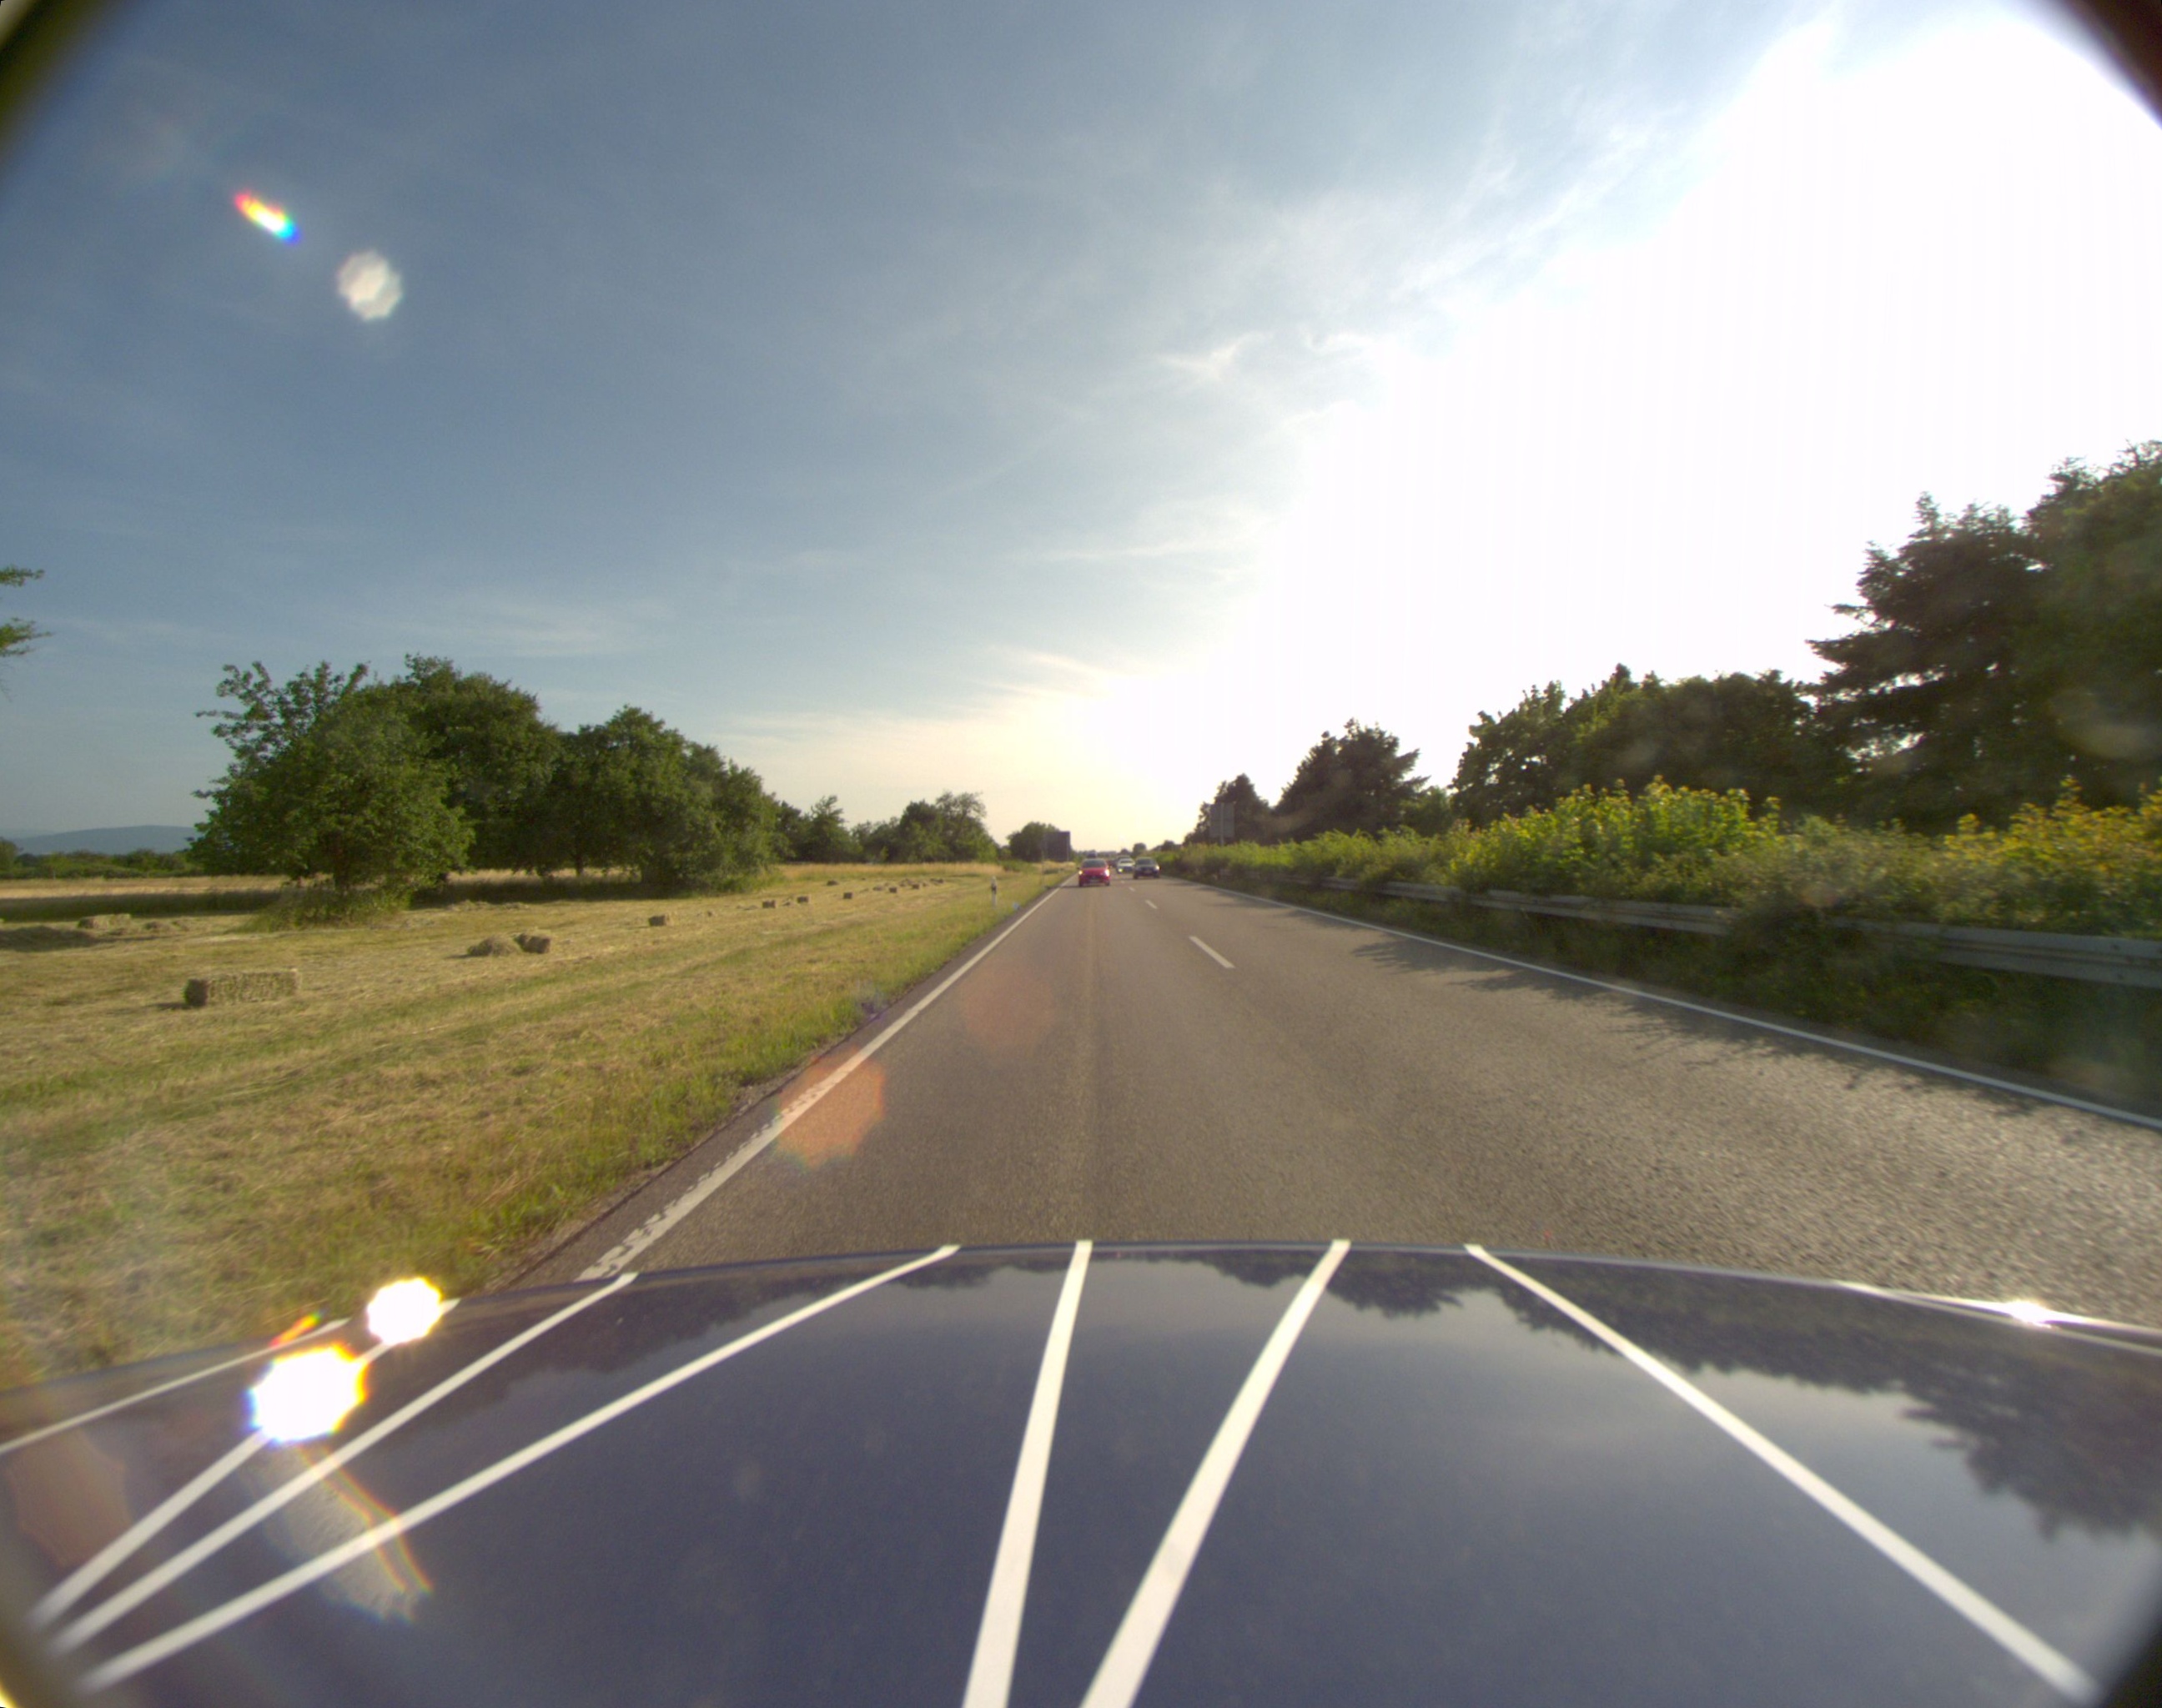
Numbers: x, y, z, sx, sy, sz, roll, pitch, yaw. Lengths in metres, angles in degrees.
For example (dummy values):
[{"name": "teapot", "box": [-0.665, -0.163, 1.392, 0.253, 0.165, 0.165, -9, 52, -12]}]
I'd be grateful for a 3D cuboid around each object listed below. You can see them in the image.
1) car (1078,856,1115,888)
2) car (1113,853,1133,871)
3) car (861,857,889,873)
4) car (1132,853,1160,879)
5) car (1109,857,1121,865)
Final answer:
[{"name": "car", "box": [0.884, 0.937, 40.593, 1.821, 1.565, 4.001, -2, 0, 2]}, {"name": "car", "box": [4.257, 0.829, 77.804, 1.998, 1.762, 4.001, -2, 0, 2]}, {"name": "car", "box": [-23.915, 1.281, 88.240, 1.998, 1.739, 4.000, -2, 0, 1]}, {"name": "car", "box": [4.600, 0.810, 53.900, 1.693, 1.695, 4.000, -2, 0, 2]}, {"name": "car", "box": [6.024, 1.230, 133.780, 1.998, 1.412, 4.001, -2, 0, 2]}]
